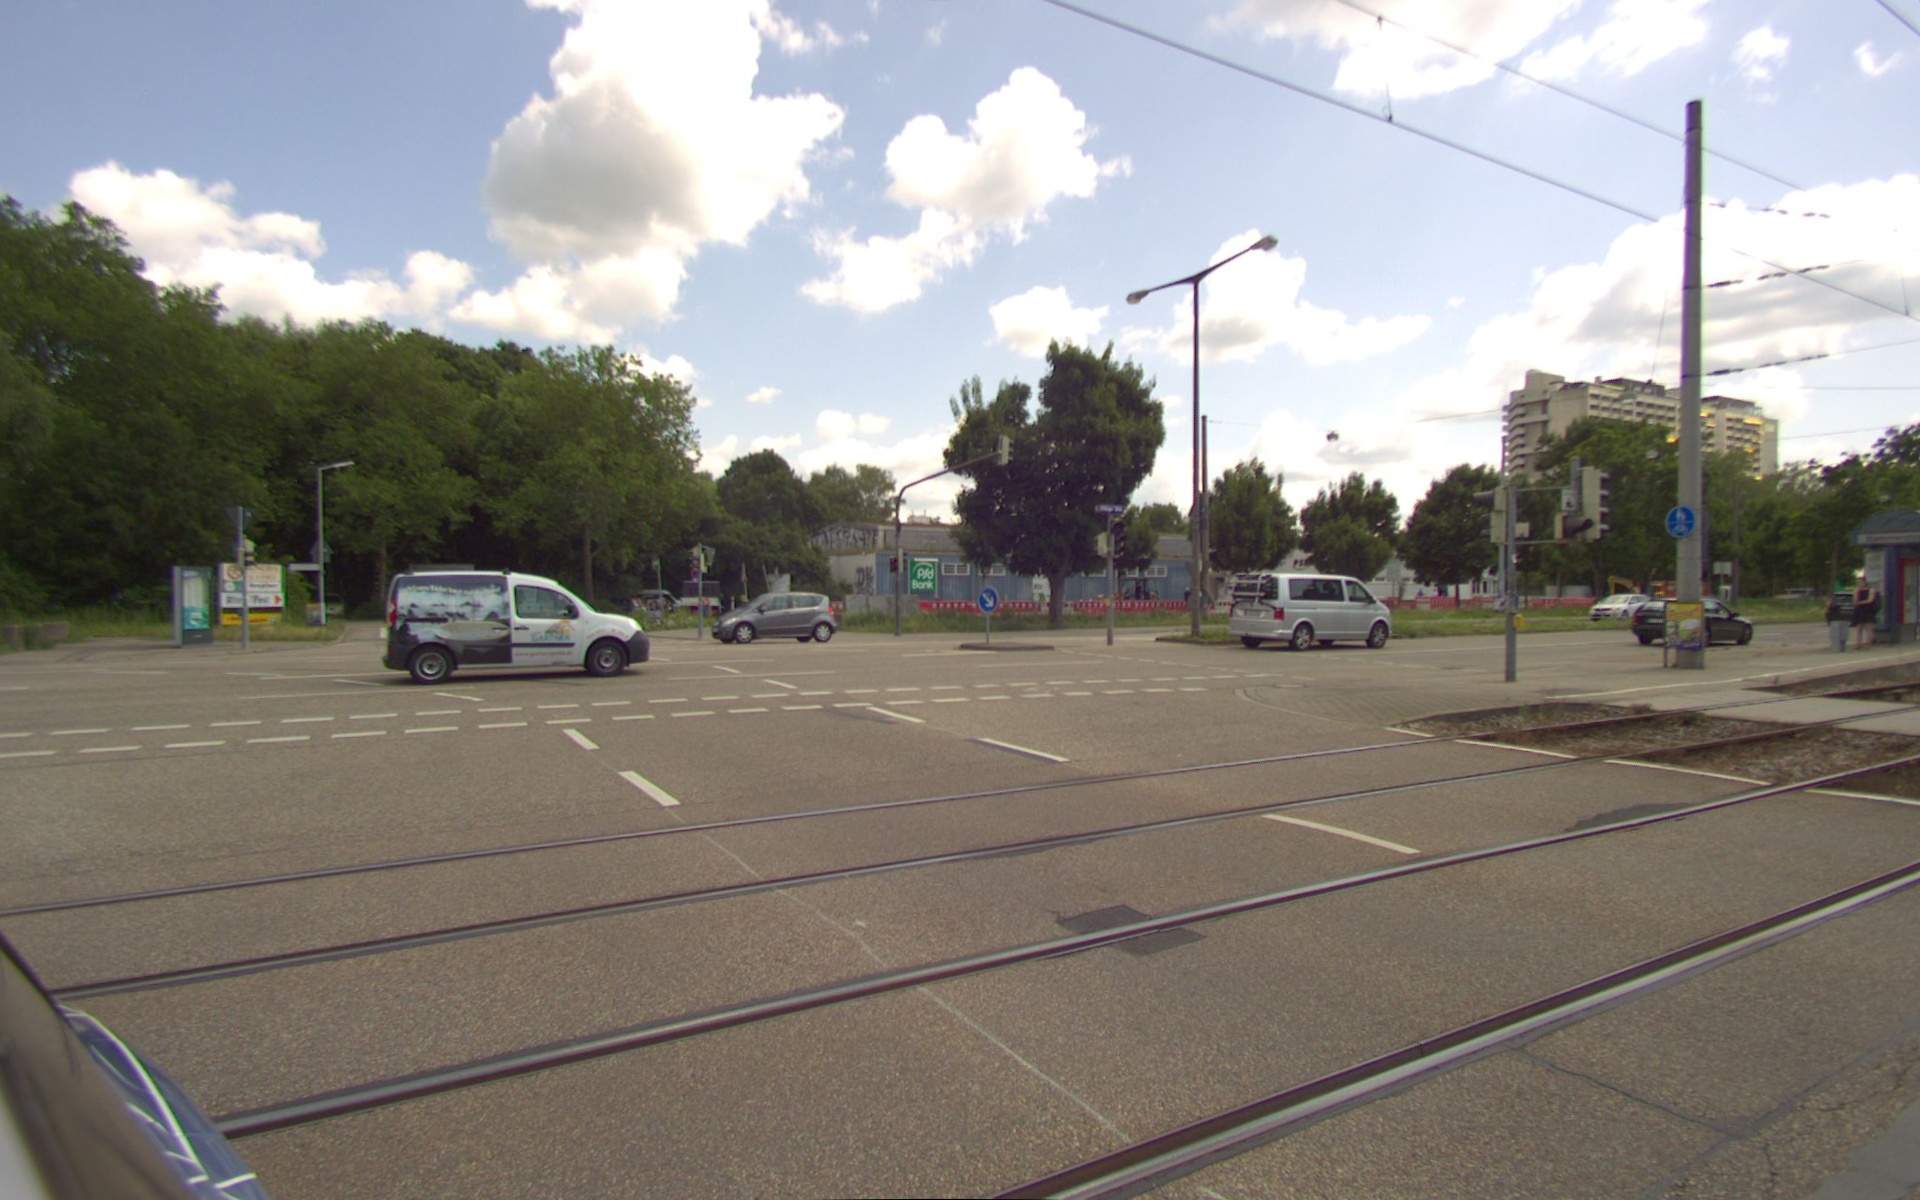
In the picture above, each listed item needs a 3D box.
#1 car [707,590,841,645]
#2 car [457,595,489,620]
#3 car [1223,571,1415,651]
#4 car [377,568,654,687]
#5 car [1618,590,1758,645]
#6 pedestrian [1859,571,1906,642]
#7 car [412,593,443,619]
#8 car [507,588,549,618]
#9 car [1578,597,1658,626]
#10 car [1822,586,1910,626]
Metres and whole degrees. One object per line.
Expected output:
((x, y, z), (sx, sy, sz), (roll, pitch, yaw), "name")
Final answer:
((-5.772, 0.511, 31.456), (3.707, 1.606, 1.797), (-1, 0, -28), "car")
((-30.876, 0.455, 64.131), (1.592, 1.519, 3.631), (0, 1, -29), "car")
((9.487, 0.246, 26.638), (5.142, 1.933, 1.825), (0, 0, -29), "car")
((-7.438, 0.391, 17.065), (4.084, 1.798, 1.754), (0, 1, -29), "car")
((21.656, 0.474, 30.067), (4.358, 1.477, 1.766), (-1, 1, -31), "car")
((20.223, 0.145, 22.195), (0.706, 1.525, 0.657), (0, 0, -39), "pedestrian")
((-32.853, 0.350, 62.370), (1.592, 1.519, 3.631), (0, 1, -29), "car")
((-27.755, 0.179, 65.124), (1.905, 1.806, 3.629), (0, 1, -12), "car")
((35.878, 0.597, 55.196), (4.102, 1.515, 2.006), (0, 1, -30), "car")
((40.203, 0.219, 44.889), (4.267, 1.680, 1.797), (0, 1, -33), "car")
